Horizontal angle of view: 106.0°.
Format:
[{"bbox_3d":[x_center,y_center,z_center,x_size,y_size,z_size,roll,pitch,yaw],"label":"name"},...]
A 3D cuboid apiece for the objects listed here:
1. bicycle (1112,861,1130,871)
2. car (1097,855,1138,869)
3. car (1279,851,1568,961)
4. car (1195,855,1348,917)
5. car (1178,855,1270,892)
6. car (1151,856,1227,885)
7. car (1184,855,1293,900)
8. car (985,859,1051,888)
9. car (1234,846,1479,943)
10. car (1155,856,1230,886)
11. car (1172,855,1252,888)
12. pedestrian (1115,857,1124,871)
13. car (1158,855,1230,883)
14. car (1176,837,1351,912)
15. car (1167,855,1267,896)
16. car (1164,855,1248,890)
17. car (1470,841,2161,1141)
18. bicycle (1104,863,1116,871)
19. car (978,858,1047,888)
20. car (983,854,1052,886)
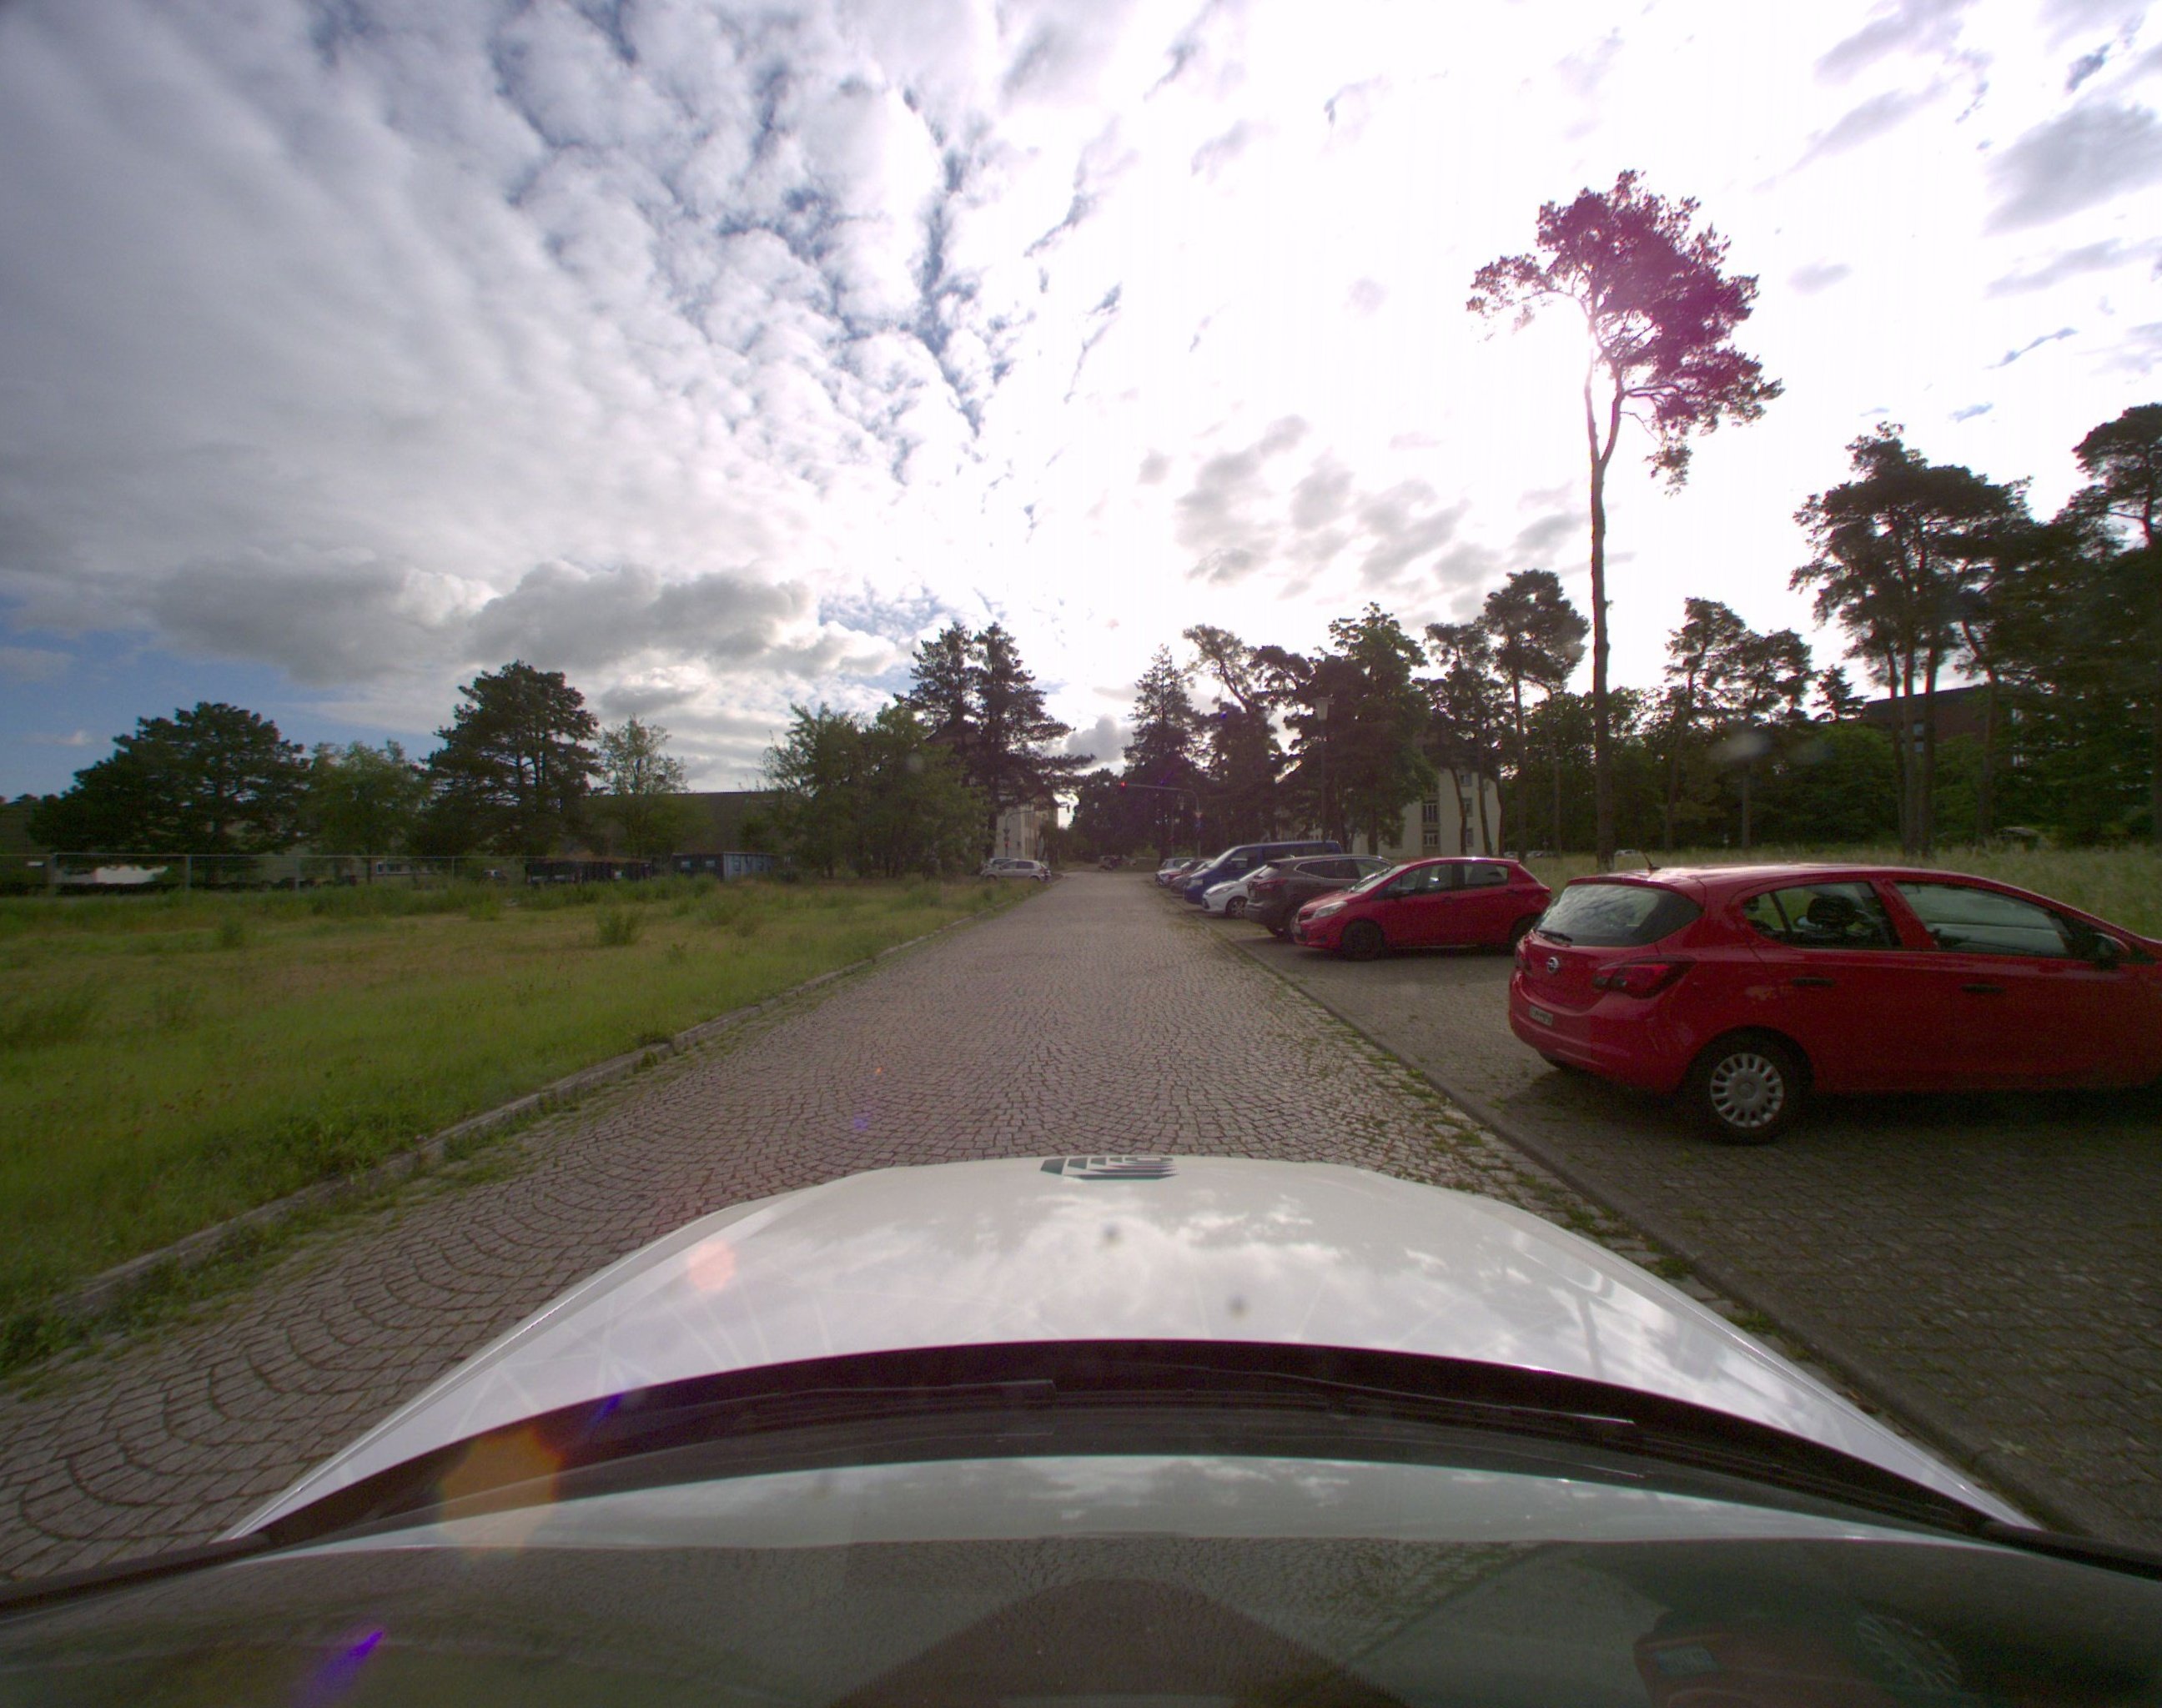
[{"bbox_3d":[4.760,1.407,97.198,2.131,1.215,0.621,0,-1,-3],"label":"bicycle"},{"bbox_3d":[5.173,1.105,115.114,5.441,2.014,2.263,0,-1,-7],"label":"car"},{"bbox_3d":[5.208,0.771,12.775,3.778,1.460,1.752,-2,-1,2],"label":"car"},{"bbox_3d":[5.033,0.842,21.822,3.661,1.449,1.614,-2,-1,-1],"label":"car"},{"bbox_3d":[6.182,0.837,35.442,3.660,1.449,1.523,-2,-1,0],"label":"car"},{"bbox_3d":[6.002,0.895,45.553,3.958,1.421,1.618,-2,-1,-3],"label":"car"},{"bbox_3d":[5.698,0.856,29.682,3.660,1.449,1.523,-2,-1,0],"label":"car"},{"bbox_3d":[-3.834,1.166,49.798,3.808,1.572,1.565,-2,-1,1],"label":"car"},{"bbox_3d":[5.103,0.731,15.439,4.016,1.552,1.750,-2,-1,-1],"label":"car"},{"bbox_3d":[5.813,0.874,42.700,3.663,1.421,1.522,-2,-1,-3],"label":"car"},{"bbox_3d":[6.471,0.849,40.429,3.660,1.449,1.523,-2,-1,0],"label":"car"},{"bbox_3d":[4.571,1.205,97.548,1.031,1.614,0.757,0,-1,-3],"label":"pedestrian"},{"bbox_3d":[6.666,0.883,48.189,3.958,1.421,1.618,-2,-1,-3],"label":"car"},{"bbox_3d":[5.366,0.600,24.411,4.739,1.954,1.931,-2,-1,0],"label":"car"},{"bbox_3d":[5.376,0.848,32.472,3.660,1.449,1.523,-2,-1,0],"label":"car"},{"bbox_3d":[5.802,0.840,38.160,3.660,1.449,1.523,-2,-1,0],"label":"car"},{"bbox_3d":[4.827,0.727,5.198,3.812,1.460,1.780,-2,-1,1],"label":"car"},{"bbox_3d":[3.313,1.486,93.161,0.623,0.945,1.649,0,-1,-26],"label":"bicycle"},{"bbox_3d":[-3.964,1.114,47.383,3.811,1.572,1.563,-2,-1,-2],"label":"car"},{"bbox_3d":[-4.077,1.029,52.796,4.247,1.840,1.744,-2,-1,1],"label":"car"}]
